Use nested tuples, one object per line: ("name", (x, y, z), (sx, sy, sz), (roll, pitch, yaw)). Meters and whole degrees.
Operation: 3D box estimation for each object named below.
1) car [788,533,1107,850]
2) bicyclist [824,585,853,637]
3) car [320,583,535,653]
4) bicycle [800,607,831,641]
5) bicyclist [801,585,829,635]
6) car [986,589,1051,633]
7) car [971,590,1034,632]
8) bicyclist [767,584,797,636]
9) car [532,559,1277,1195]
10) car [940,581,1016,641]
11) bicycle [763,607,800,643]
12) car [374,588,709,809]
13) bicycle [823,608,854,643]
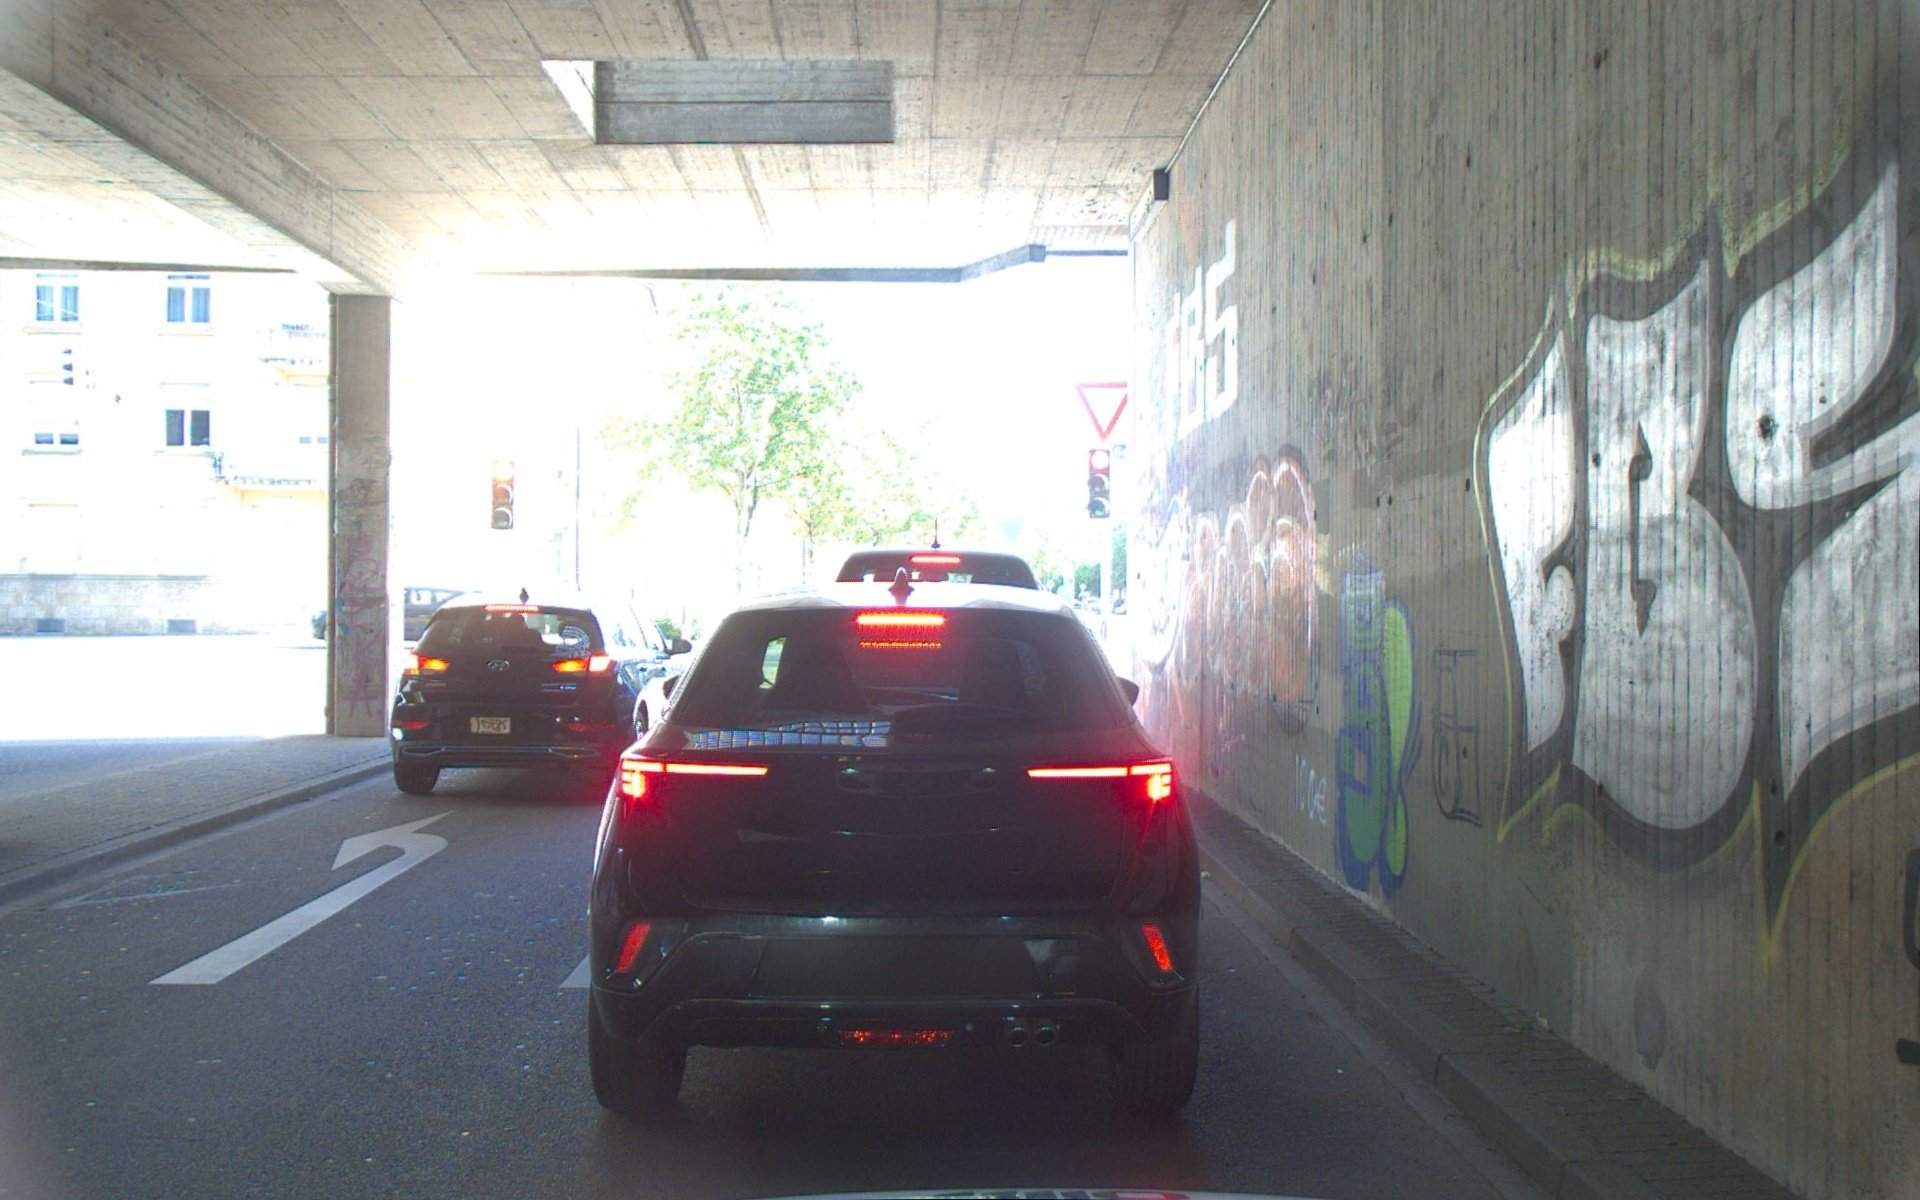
("car", (-0.101, 0.536, 11.922), (1.906, 1.892, 3.963), (0, 0, -1))
("bicyclist", (-3.823, 0.337, 52.045), (0.713, 1.609, 0.815), (1, -1, 9))
("car", (-12.172, 0.396, 37.979), (4.293, 1.579, 1.884), (0, 0, 4))
("bicycle", (-4.755, 0.783, 54.541), (0.612, 1.086, 1.690), (1, 0, 9))
("bicyclist", (-4.769, 0.333, 54.365), (0.713, 1.609, 0.815), (1, -1, 9))
("car", (2.475, 0.480, 69.075), (2.173, 1.749, 4.463), (0, -1, 9))
("car", (1.628, 0.438, 62.254), (1.926, 1.523, 3.899), (0, -1, 8))
("bicyclist", (-5.535, 0.305, 51.495), (0.713, 1.609, 0.815), (1, -1, 9))
("car", (-0.162, 0.675, 6.098), (1.844, 1.565, 3.963), (0, 0, -1))
("car", (0.498, 0.335, 44.216), (1.927, 1.523, 3.896), (0, -1, 1))
("bicycle", (-5.554, 0.771, 51.461), (0.716, 1.086, 1.690), (1, 0, 9))
("car", (-3.153, 0.658, 13.307), (1.744, 1.472, 4.177), (1, 0, -2))
("bicycle", (-3.819, 0.802, 52.026), (0.612, 1.086, 1.690), (1, 0, 9))
